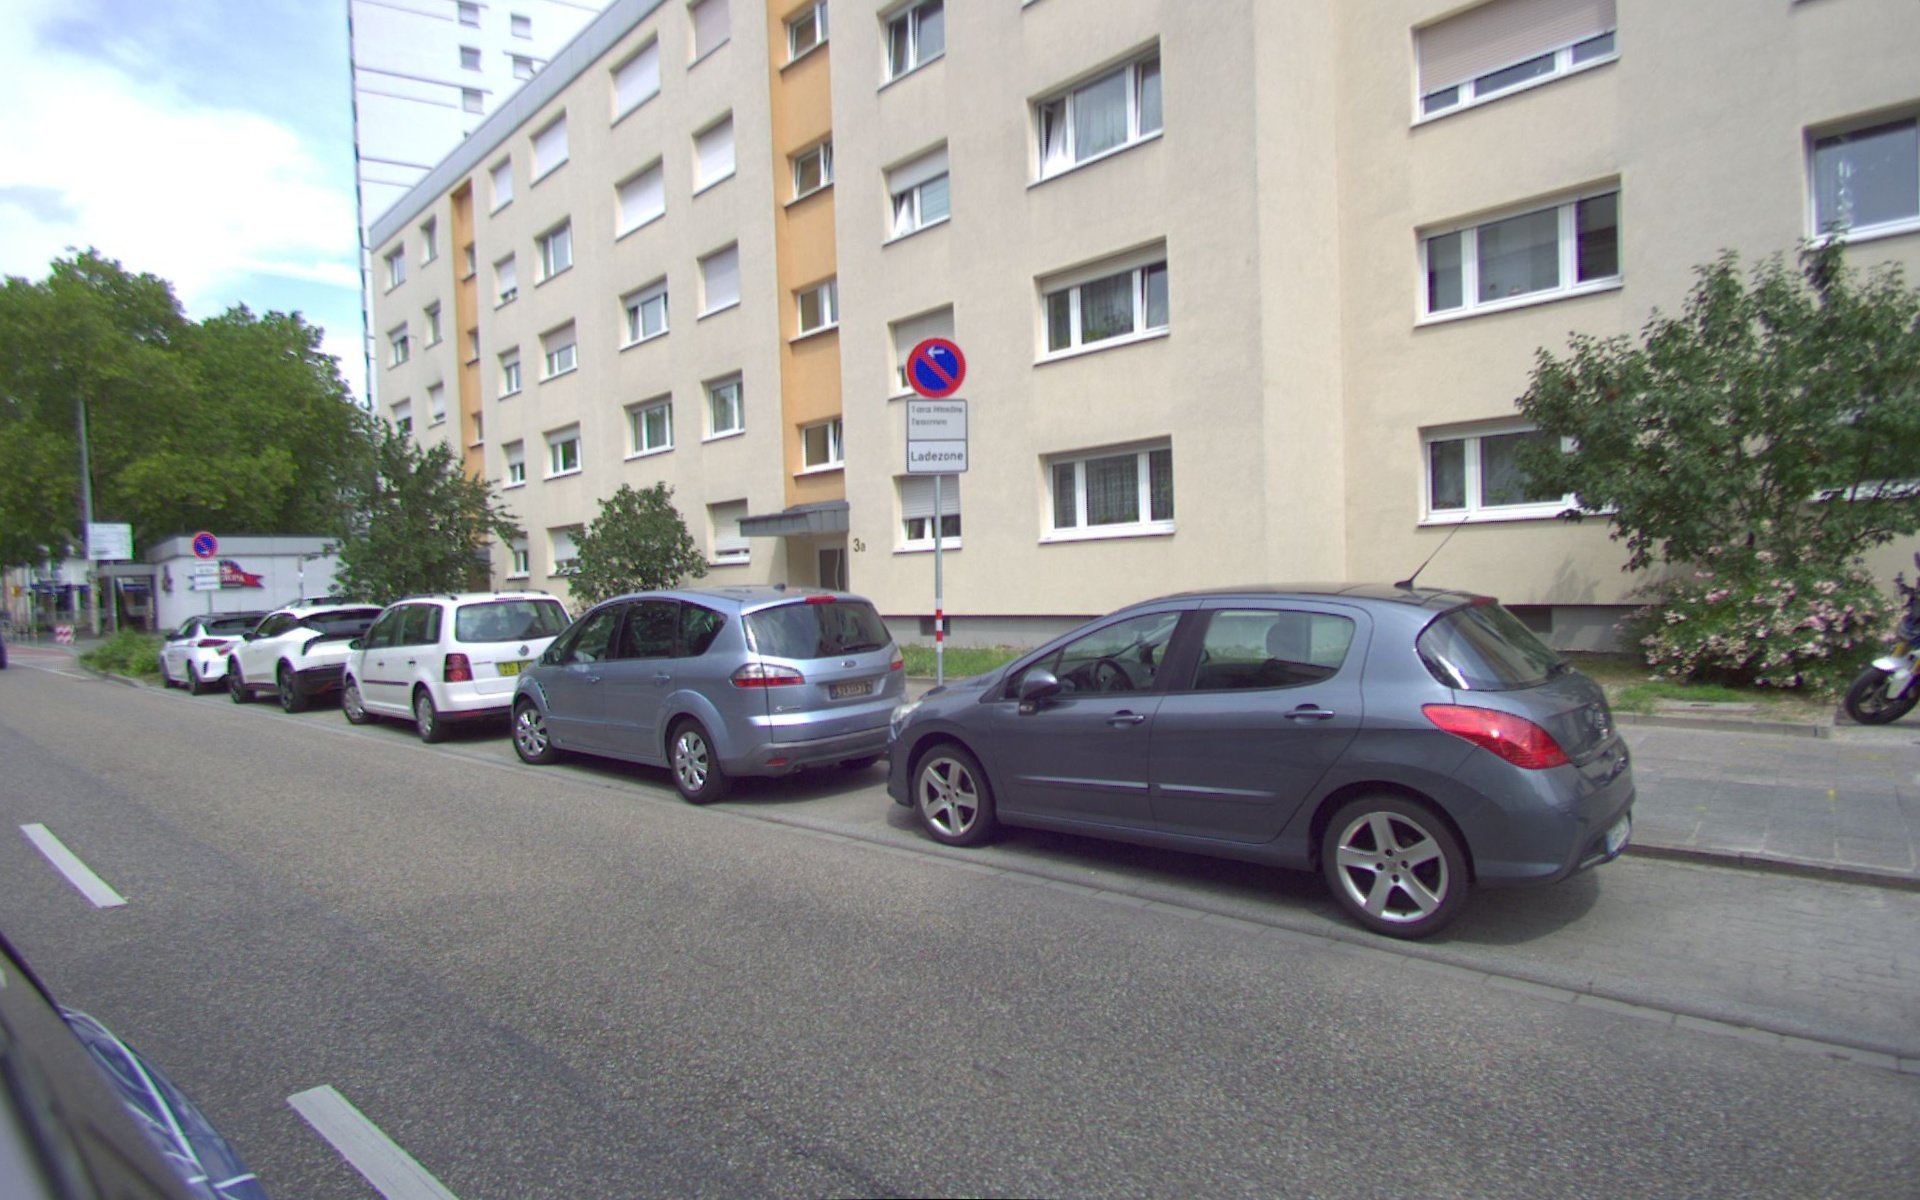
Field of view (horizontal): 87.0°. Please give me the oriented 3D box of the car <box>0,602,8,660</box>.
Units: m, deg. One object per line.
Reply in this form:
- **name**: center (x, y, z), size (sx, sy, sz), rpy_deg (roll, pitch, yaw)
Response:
- **car**: center (-27.689, 0.831, 27.740), size (4.611, 1.532, 1.931), rpy_deg (-1, -1, 42)

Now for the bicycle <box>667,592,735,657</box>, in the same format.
- **bicycle**: center (-5.349, 0.500, 20.841), size (0.556, 1.260, 1.966), rpy_deg (-2, 0, -38)

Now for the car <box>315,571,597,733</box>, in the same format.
- **car**: center (-6.425, 0.544, 12.651), size (4.478, 1.624, 1.679), rpy_deg (-1, 3, 44)

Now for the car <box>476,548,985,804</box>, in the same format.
- **car**: center (-2.258, 0.485, 8.924), size (4.861, 1.624, 1.921), rpy_deg (-1, 3, 43)

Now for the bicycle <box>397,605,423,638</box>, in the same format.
- **bicycle**: center (-18.372, 0.704, 33.794), size (0.406, 1.045, 1.808), rpy_deg (-2, 1, -40)

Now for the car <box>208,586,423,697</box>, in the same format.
- **car**: center (-10.353, 0.605, 16.156), size (3.985, 1.483, 1.692), rpy_deg (-1, 2, 40)

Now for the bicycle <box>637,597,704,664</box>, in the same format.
- **bicycle**: center (-5.856, 0.604, 20.405), size (0.529, 1.260, 2.049), rpy_deg (-2, 0, -38)

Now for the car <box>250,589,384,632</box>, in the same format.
- **car**: center (-27.458, 0.419, 43.275), size (4.576, 1.699, 1.851), rpy_deg (-1, 0, -43)

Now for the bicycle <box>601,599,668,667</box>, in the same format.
- **bicycle**: center (-6.423, 0.643, 19.905), size (0.571, 1.260, 1.937), rpy_deg (-2, 0, -38)

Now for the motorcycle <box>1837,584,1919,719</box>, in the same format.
- **motorcycle**: center (7.969, 0.376, 7.417), size (2.316, 0.993, 0.655), rpy_deg (-1, 2, 41)

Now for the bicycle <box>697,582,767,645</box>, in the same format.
- **bicycle**: center (-4.822, 0.288, 21.313), size (0.549, 1.260, 1.920), rpy_deg (-2, 0, -40)

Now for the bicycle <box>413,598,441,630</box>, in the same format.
- **bicycle**: center (-18.034, 0.460, 34.230), size (0.406, 1.045, 1.807), rpy_deg (-2, 1, -42)

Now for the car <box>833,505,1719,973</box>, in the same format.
- **car**: center (1.464, 0.456, 5.661), size (4.300, 1.624, 1.922), rpy_deg (-1, 2, 42)

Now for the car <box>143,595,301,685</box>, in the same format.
- **car**: center (-14.381, 0.710, 19.639), size (3.989, 1.483, 1.690), rpy_deg (-1, 3, 43)
